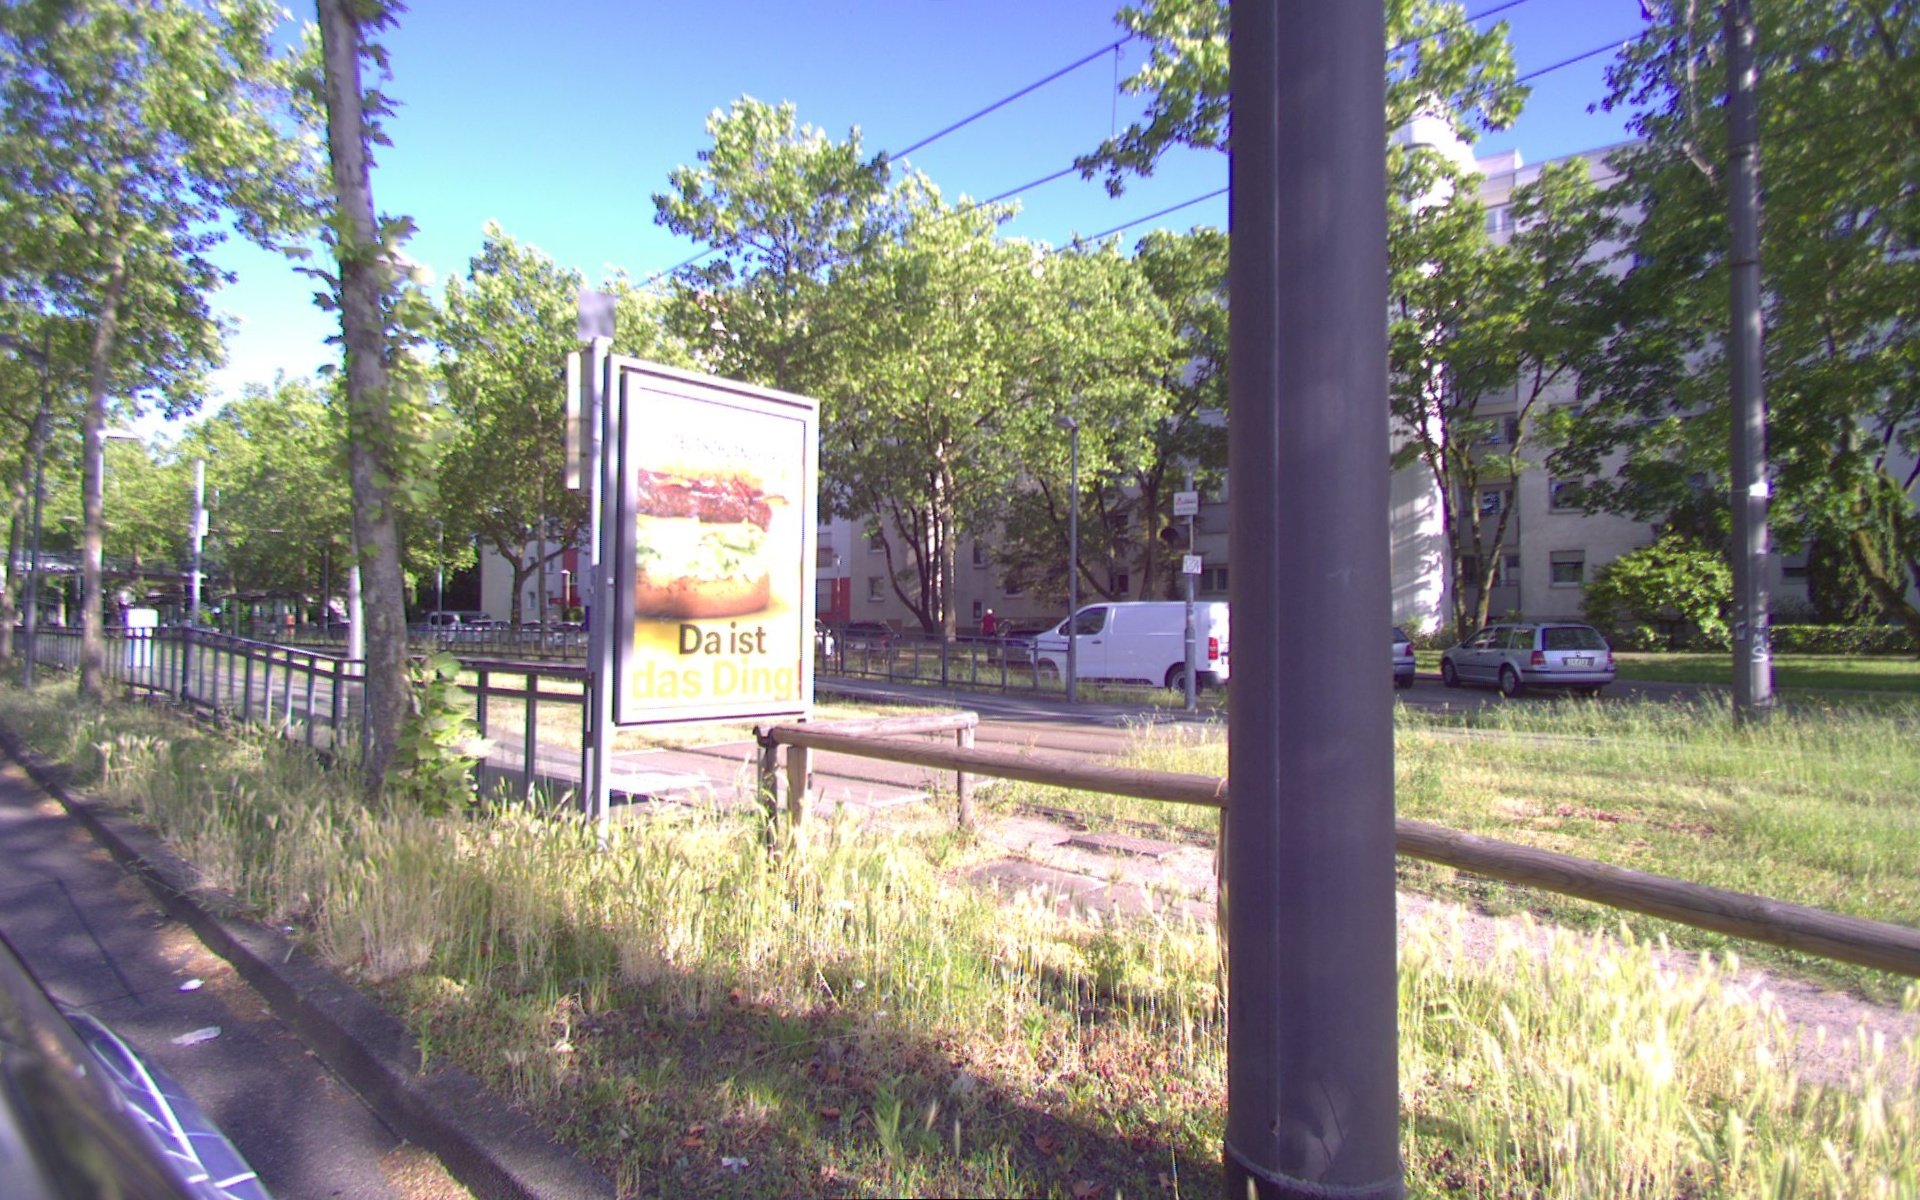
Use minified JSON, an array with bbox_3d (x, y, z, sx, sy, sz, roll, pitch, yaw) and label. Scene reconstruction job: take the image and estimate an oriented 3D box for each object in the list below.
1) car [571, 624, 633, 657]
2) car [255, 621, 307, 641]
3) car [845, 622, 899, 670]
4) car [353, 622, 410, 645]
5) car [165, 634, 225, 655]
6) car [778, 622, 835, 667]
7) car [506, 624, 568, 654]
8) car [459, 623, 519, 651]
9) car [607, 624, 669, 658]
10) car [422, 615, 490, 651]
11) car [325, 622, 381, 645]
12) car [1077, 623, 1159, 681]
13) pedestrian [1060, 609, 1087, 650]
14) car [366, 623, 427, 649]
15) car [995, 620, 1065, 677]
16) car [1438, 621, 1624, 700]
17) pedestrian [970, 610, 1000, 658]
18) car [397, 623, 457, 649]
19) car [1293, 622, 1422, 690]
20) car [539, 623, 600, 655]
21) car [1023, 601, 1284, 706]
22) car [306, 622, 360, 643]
[{"bbox_3d":[-16.626,1.859,47.162,1.633,1.452,3.805,-1,-1,-2],"label":"car"},{"bbox_3d":[-53.051,2.407,79.154,1.633,1.452,3.805,-1,-1,-2],"label":"car"},{"bbox_3d":[-2.975,1.530,34.652,1.633,1.522,3.805,-1,-1,-2],"label":"car"},{"bbox_3d":[-37.885,2.177,66.380,1.633,1.452,3.805,-1,-1,-2],"label":"car"},{"bbox_3d":[-59.352,3.439,78.508,4.613,1.522,1.644,-1,-1,23],"label":"car"},{"bbox_3d":[-5.565,1.572,37.021,1.633,1.522,3.805,-1,-1,-2],"label":"car"},{"bbox_3d":[-21.337,1.944,51.186,1.633,1.452,3.805,-1,-1,-2],"label":"car"},{"bbox_3d":[-25.870,2.004,55.662,1.633,1.452,3.805,-1,-1,-2],"label":"car"},{"bbox_3d":[-14.062,1.769,44.339,1.633,1.366,3.805,-1,-1,-2],"label":"car"},{"bbox_3d":[-28.452,1.829,57.256,1.814,1.888,4.323,-1,-1,-2],"label":"car"},{"bbox_3d":[-40.838,2.232,68.193,1.633,1.452,3.805,-1,-1,-2],"label":"car"},{"bbox_3d":[4.219,1.367,27.522,1.633,1.413,3.803,-1,-1,0],"label":"car"},{"bbox_3d":[4.692,1.206,41.857,0.786,1.635,0.755,-1,0,39],"label":"pedestrian"},{"bbox_3d":[-33.694,2.118,60.604,1.633,1.452,3.805,-1,-1,-2],"label":"car"},{"bbox_3d":[1.984,1.357,29.670,1.633,1.522,3.805,-1,-1,-2],"label":"car"},{"bbox_3d":[11.475,1.163,20.668,1.559,1.413,3.906,-1,-1,0],"label":"car"},{"bbox_3d":[0.934,1.262,37.670,0.786,1.745,0.755,-1,0,39],"label":"pedestrian"},{"bbox_3d":[-31.331,2.087,59.601,1.633,1.452,3.805,-1,-1,-2],"label":"car"},{"bbox_3d":[9.144,1.241,23.594,1.559,1.413,3.638,-1,-1,0],"label":"car"},{"bbox_3d":[-19.045,1.901,49.542,1.633,1.452,3.805,-1,-1,-2],"label":"car"},{"bbox_3d":[3.718,0.992,20.161,4.903,1.835,1.807,-2,-1,43],"label":"car"},{"bbox_3d":[-44.979,2.293,72.683,1.633,1.452,3.805,-1,-1,-2],"label":"car"}]
